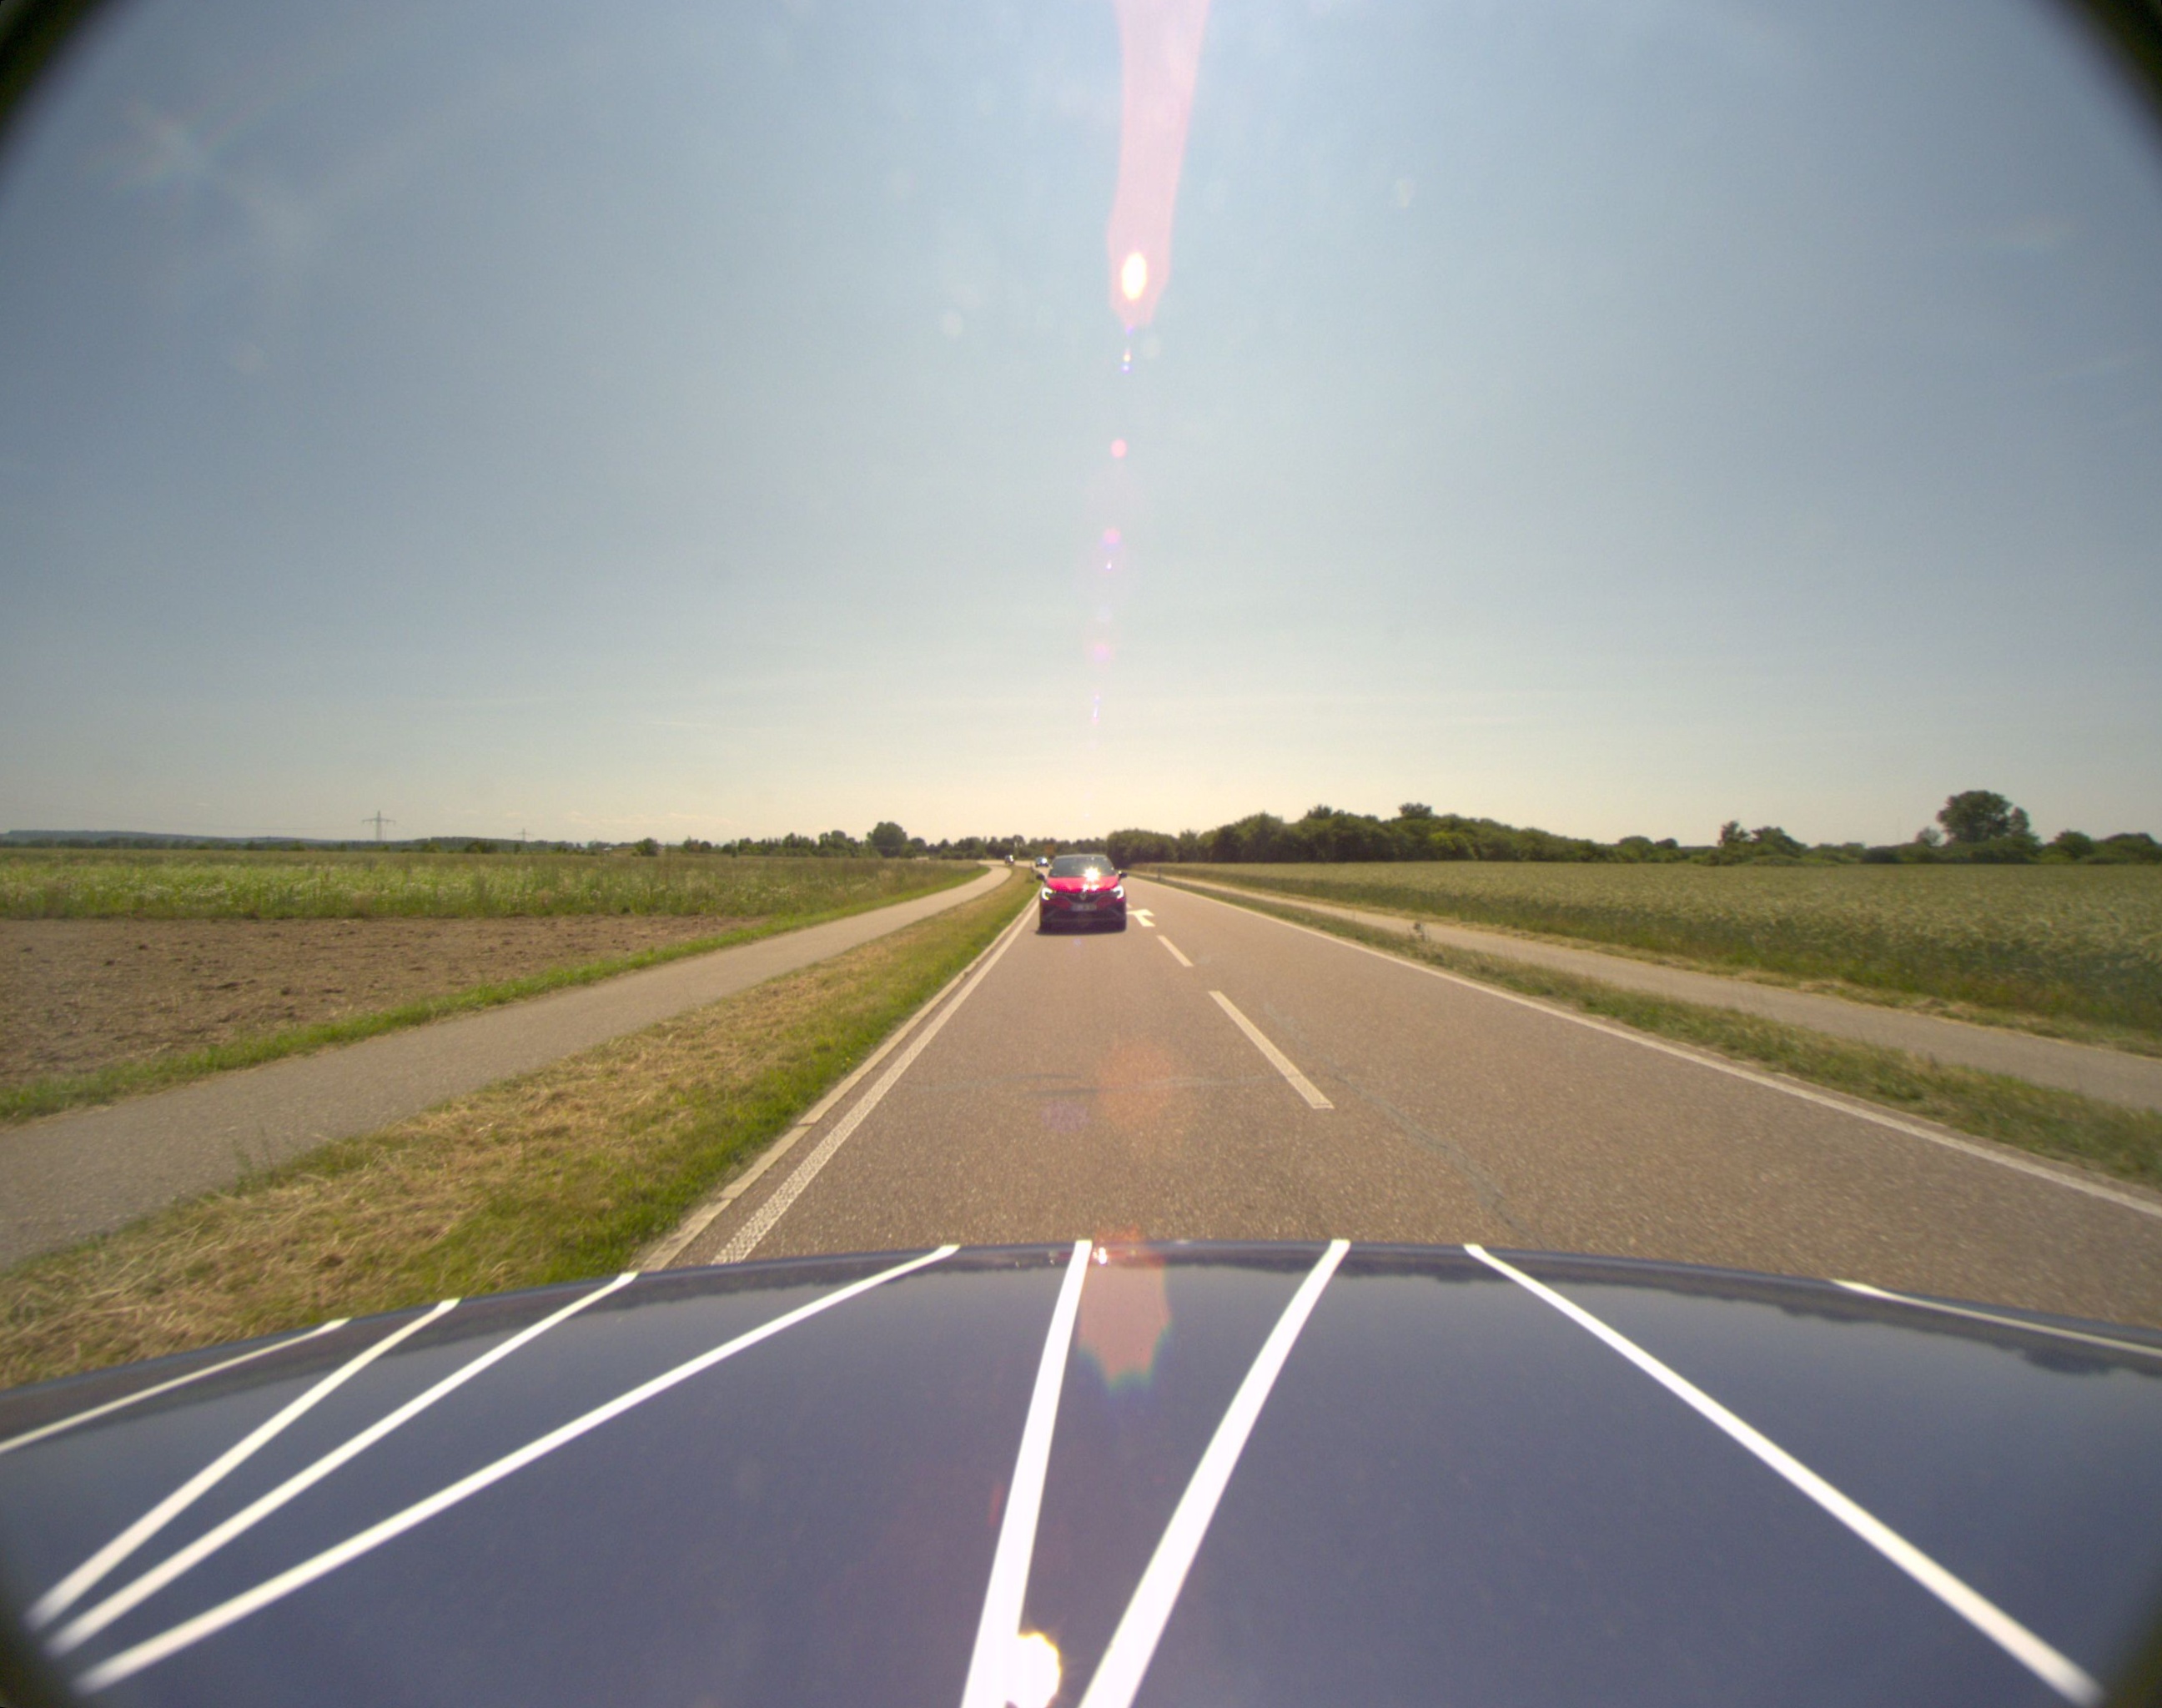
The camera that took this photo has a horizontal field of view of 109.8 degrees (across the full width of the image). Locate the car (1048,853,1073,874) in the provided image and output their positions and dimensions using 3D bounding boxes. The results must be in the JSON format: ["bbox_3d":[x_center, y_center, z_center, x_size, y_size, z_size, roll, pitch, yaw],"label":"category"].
[{"bbox_3d":[-1.744,0.760,62.894,1.983,1.587,5.400,-1,0,-3],"label":"car"}]

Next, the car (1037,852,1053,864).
[{"bbox_3d":[-5.239,0.583,111.130,1.984,1.587,5.398,-1,0,-6],"label":"car"}]

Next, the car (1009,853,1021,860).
[{"bbox_3d":[-14.539,0.513,166.318,1.985,1.587,5.396,-1,0,-12],"label":"car"}]

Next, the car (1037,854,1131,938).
[{"bbox_3d":[0.002,0.836,17.422,1.837,1.587,4.721,-1,0,-2],"label":"car"}]
